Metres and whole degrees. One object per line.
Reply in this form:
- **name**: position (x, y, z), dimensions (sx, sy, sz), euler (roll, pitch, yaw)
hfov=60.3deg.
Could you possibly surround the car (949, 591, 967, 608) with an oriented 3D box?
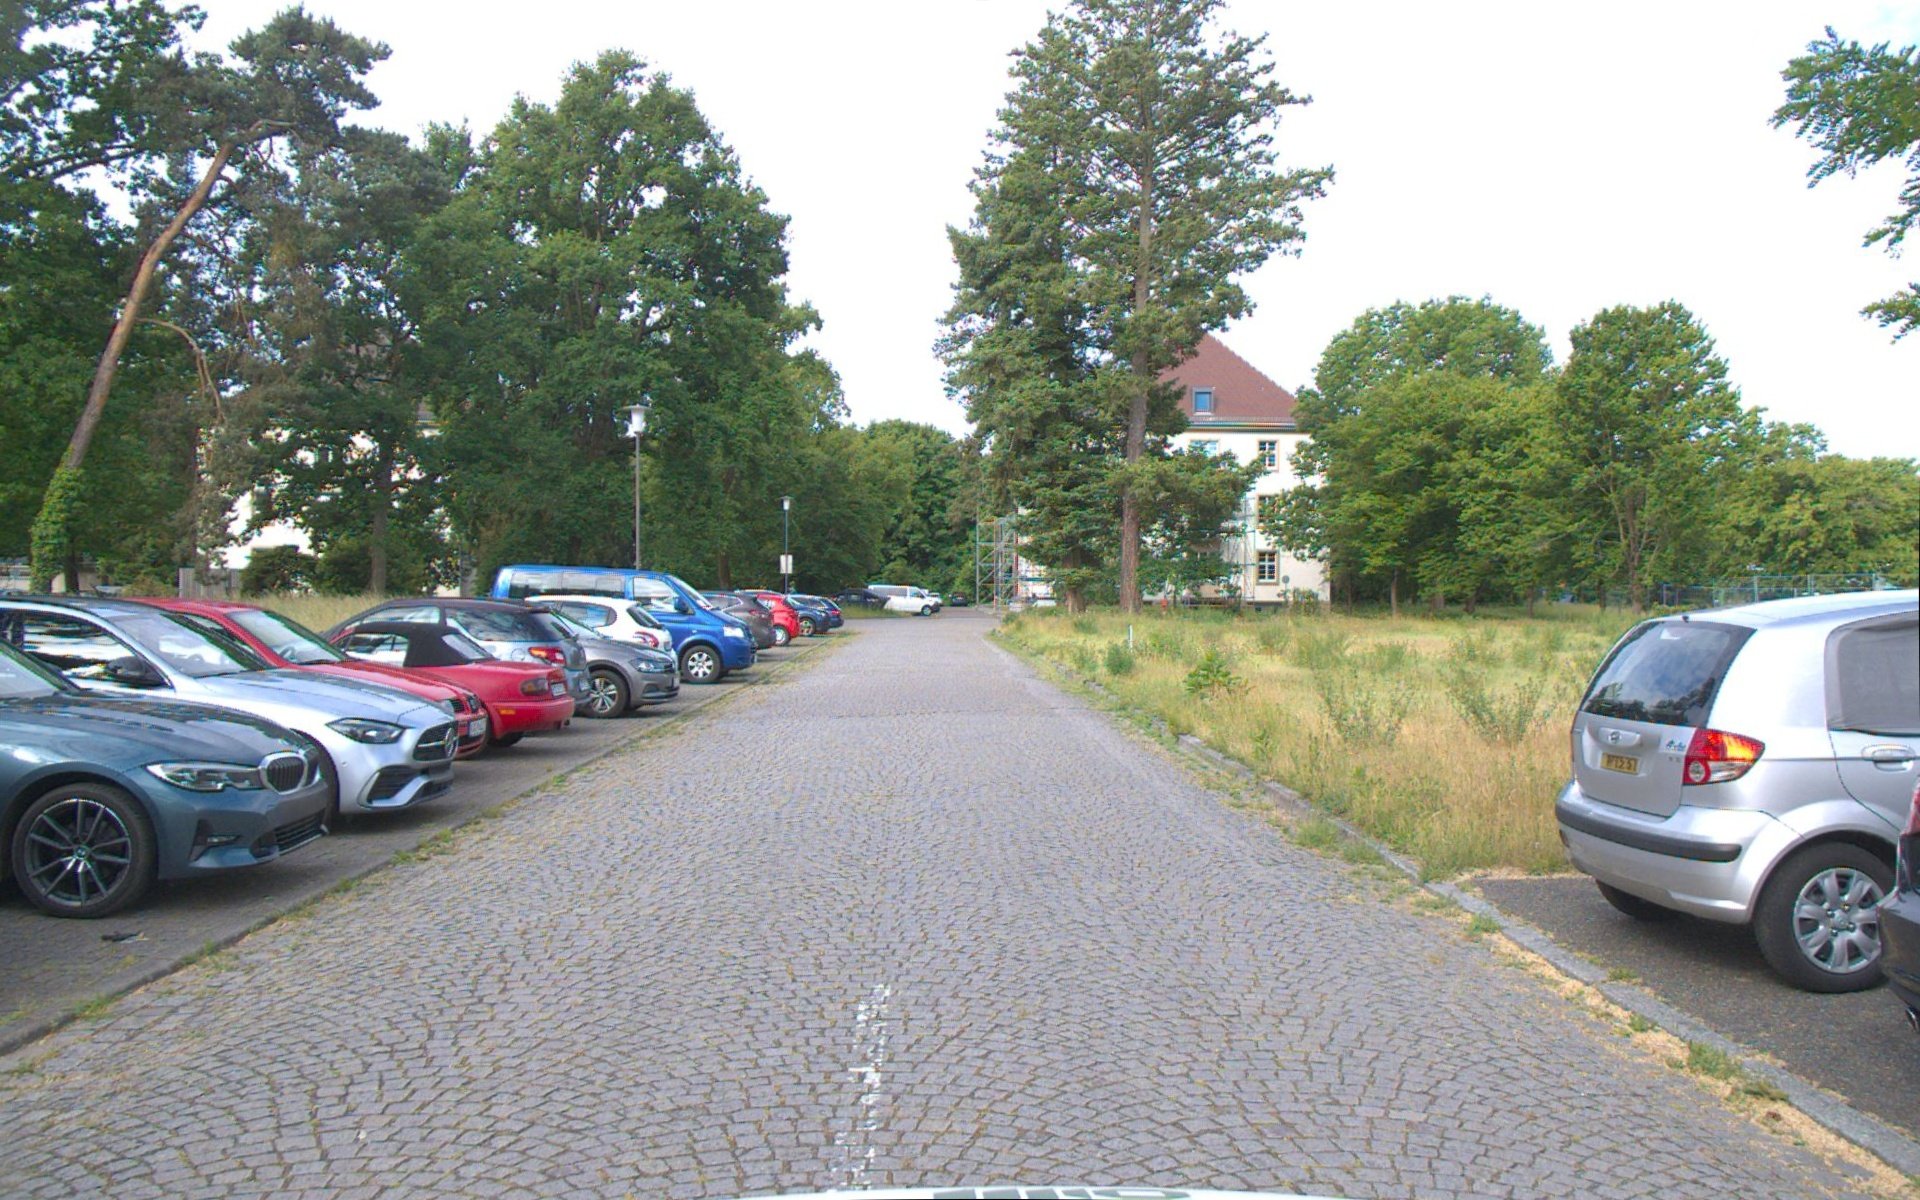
- **car**: position (-0.204, 0.009, 179.410), dimensions (1.754, 1.750, 4.058), euler (0, -1, -3)

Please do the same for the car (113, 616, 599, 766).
- **car**: position (-5.723, 0.846, 16.043), dimensions (4.047, 1.305, 1.763), euler (1, 0, -1)

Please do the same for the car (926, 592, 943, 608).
- **car**: position (-2.767, 0.049, 179.020), dimensions (1.754, 1.665, 4.058), euler (0, -1, -3)

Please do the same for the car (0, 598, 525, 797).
- **car**: position (-5.920, 0.754, 13.654), dimensions (4.168, 1.480, 1.855), euler (1, 0, -1)

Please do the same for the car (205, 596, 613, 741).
- **car**: position (-6.123, 0.734, 18.713), dimensions (4.004, 1.506, 1.755), euler (1, 0, 0)

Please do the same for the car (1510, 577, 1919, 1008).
- **car**: position (4.558, 0.666, 7.185), dimensions (3.698, 1.505, 1.741), euler (-3, 1, -4)

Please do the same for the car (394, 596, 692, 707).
- **car**: position (-6.086, 0.728, 24.464), dimensions (3.923, 1.528, 1.843), euler (1, 0, 0)

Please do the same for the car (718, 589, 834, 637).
- **car**: position (-6.560, 0.453, 59.191), dimensions (3.990, 1.632, 1.786), euler (1, 0, -3)

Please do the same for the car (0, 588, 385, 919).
- **car**: position (-5.543, 0.720, 8.669), dimensions (4.413, 1.564, 1.869), euler (1, -1, -5)

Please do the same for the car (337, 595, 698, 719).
- **car**: position (-5.686, 0.715, 21.609), dimensions (4.216, 1.506, 1.731), euler (1, 0, 0)

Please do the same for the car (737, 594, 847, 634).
- **car**: position (-6.466, 0.525, 63.891), dimensions (3.986, 1.493, 1.626), euler (1, 0, 2)

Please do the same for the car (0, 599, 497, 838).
- **car**: position (-5.637, 0.743, 11.352), dimensions (4.346, 1.481, 1.949), euler (1, 0, -1)

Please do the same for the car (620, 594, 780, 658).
- **car**: position (-6.459, 0.633, 41.414), dimensions (3.738, 1.512, 1.761), euler (1, 0, -2)

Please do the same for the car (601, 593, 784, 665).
- **car**: position (-6.194, 0.654, 38.634), dimensions (3.986, 1.602, 1.953), euler (1, 0, -3)

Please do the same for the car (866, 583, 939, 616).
- **car**: position (-3.916, -0.048, 112.939), dimensions (4.878, 2.109, 2.051), euler (1, -1, -3)

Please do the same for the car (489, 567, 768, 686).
- **car**: position (-5.875, 0.456, 29.770), dimensions (4.614, 2.015, 2.037), euler (1, 0, -2)

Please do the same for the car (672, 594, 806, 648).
- **car**: position (-6.498, 0.604, 48.942), dimensions (3.739, 1.515, 1.787), euler (1, 0, -2)

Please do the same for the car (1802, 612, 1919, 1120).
- **car**: position (4.882, 0.688, 4.492), dimensions (4.279, 1.430, 1.796), euler (-3, 1, -3)

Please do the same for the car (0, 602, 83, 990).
- **car**: position (-5.825, 0.734, 6.034), dimensions (4.240, 1.496, 1.827), euler (1, 0, 0)
